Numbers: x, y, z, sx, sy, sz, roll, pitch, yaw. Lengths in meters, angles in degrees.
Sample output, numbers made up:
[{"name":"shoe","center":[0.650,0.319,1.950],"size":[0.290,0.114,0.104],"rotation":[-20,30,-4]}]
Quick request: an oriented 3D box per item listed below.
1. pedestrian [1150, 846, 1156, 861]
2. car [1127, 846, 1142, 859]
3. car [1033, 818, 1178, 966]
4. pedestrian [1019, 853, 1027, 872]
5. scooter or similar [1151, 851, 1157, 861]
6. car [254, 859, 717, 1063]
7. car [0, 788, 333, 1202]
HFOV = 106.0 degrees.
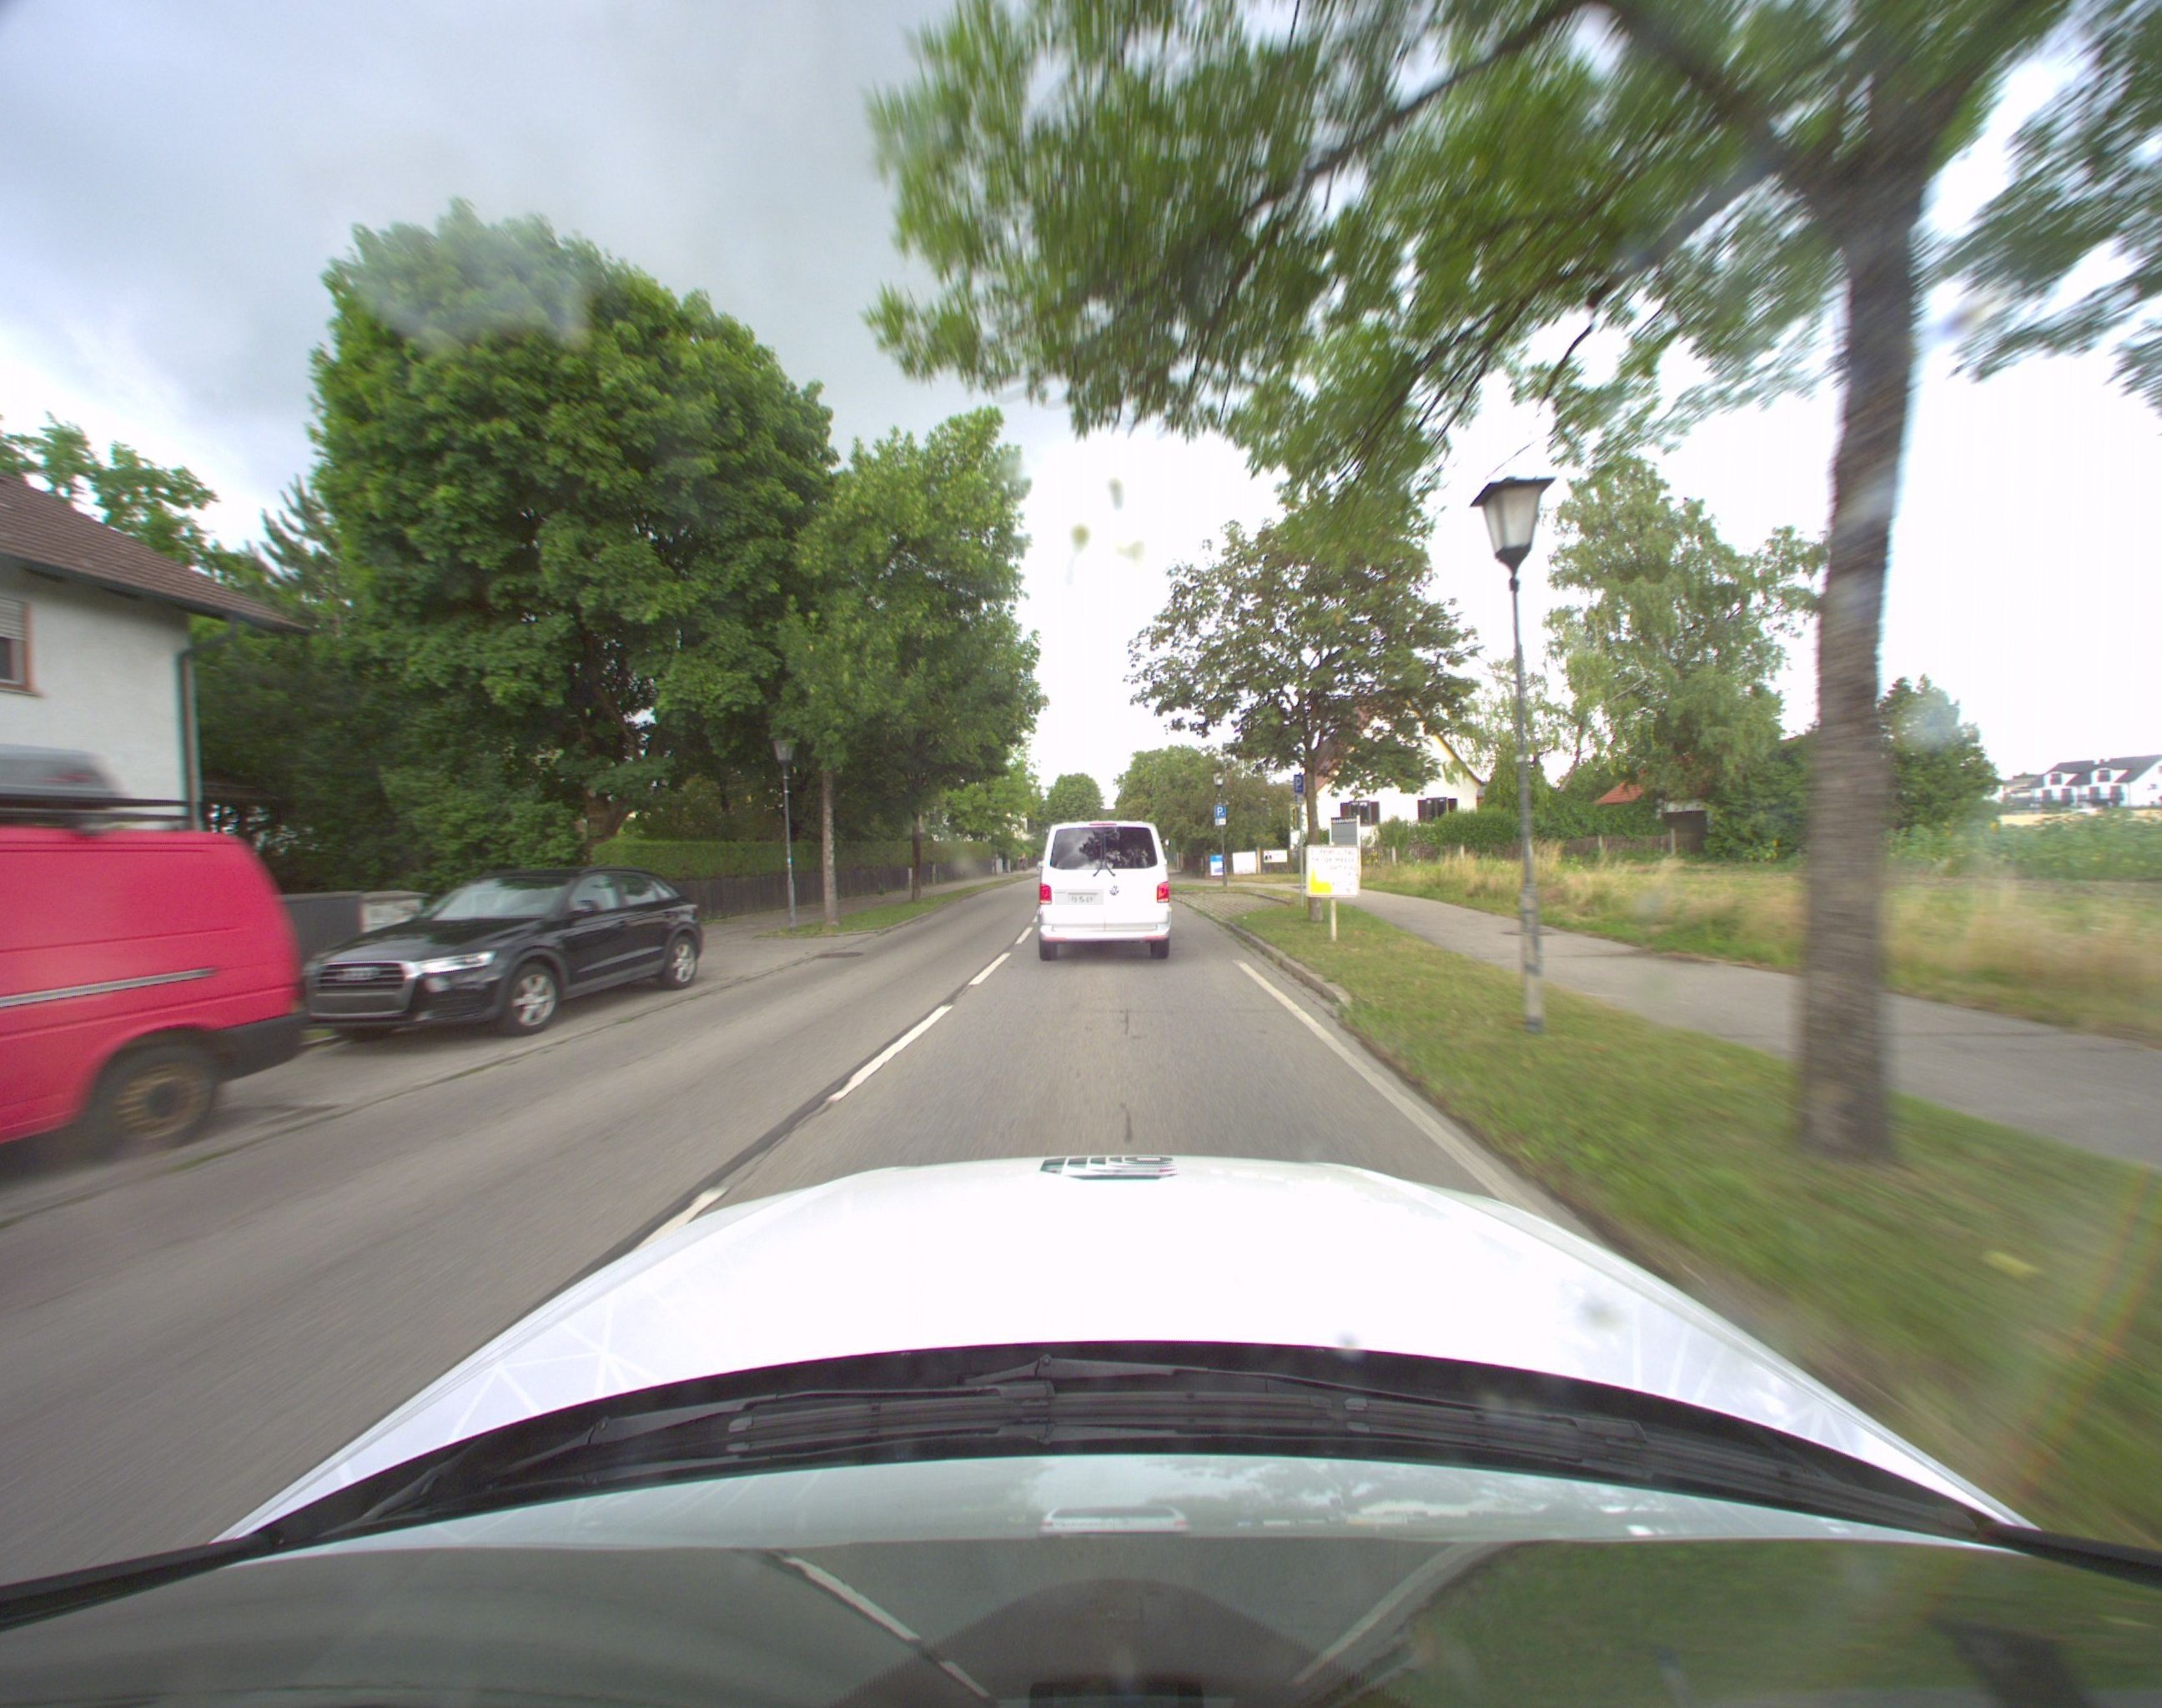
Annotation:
[{"name":"pedestrian","center":[7.173,-0.048,80.890],"size":[0.550,1.549,0.612],"rotation":[0,0,-1]},{"name":"car","center":[8.490,-0.224,129.251],"size":[1.981,2.013,4.011],"rotation":[-3,0,10]},{"name":"car","center":[0.414,0.504,12.783],"size":[1.880,1.912,4.003],"rotation":[-1,0,3]},{"name":"pedestrian","center":[-4.873,0.701,68.477],"size":[0.620,1.549,0.522],"rotation":[0,0,-1]},{"name":"scooter or similar","center":[7.151,0.217,80.158],"size":[0.550,0.971,0.620],"rotation":[0,0,-1]},{"name":"car","center":[-5.956,0.918,8.959],"size":[1.764,1.598,4.242],"rotation":[-1,1,3]},{"name":"car","center":[-6.285,0.709,3.171],"size":[1.822,2.030,5.051],"rotation":[0,1,4]}]
